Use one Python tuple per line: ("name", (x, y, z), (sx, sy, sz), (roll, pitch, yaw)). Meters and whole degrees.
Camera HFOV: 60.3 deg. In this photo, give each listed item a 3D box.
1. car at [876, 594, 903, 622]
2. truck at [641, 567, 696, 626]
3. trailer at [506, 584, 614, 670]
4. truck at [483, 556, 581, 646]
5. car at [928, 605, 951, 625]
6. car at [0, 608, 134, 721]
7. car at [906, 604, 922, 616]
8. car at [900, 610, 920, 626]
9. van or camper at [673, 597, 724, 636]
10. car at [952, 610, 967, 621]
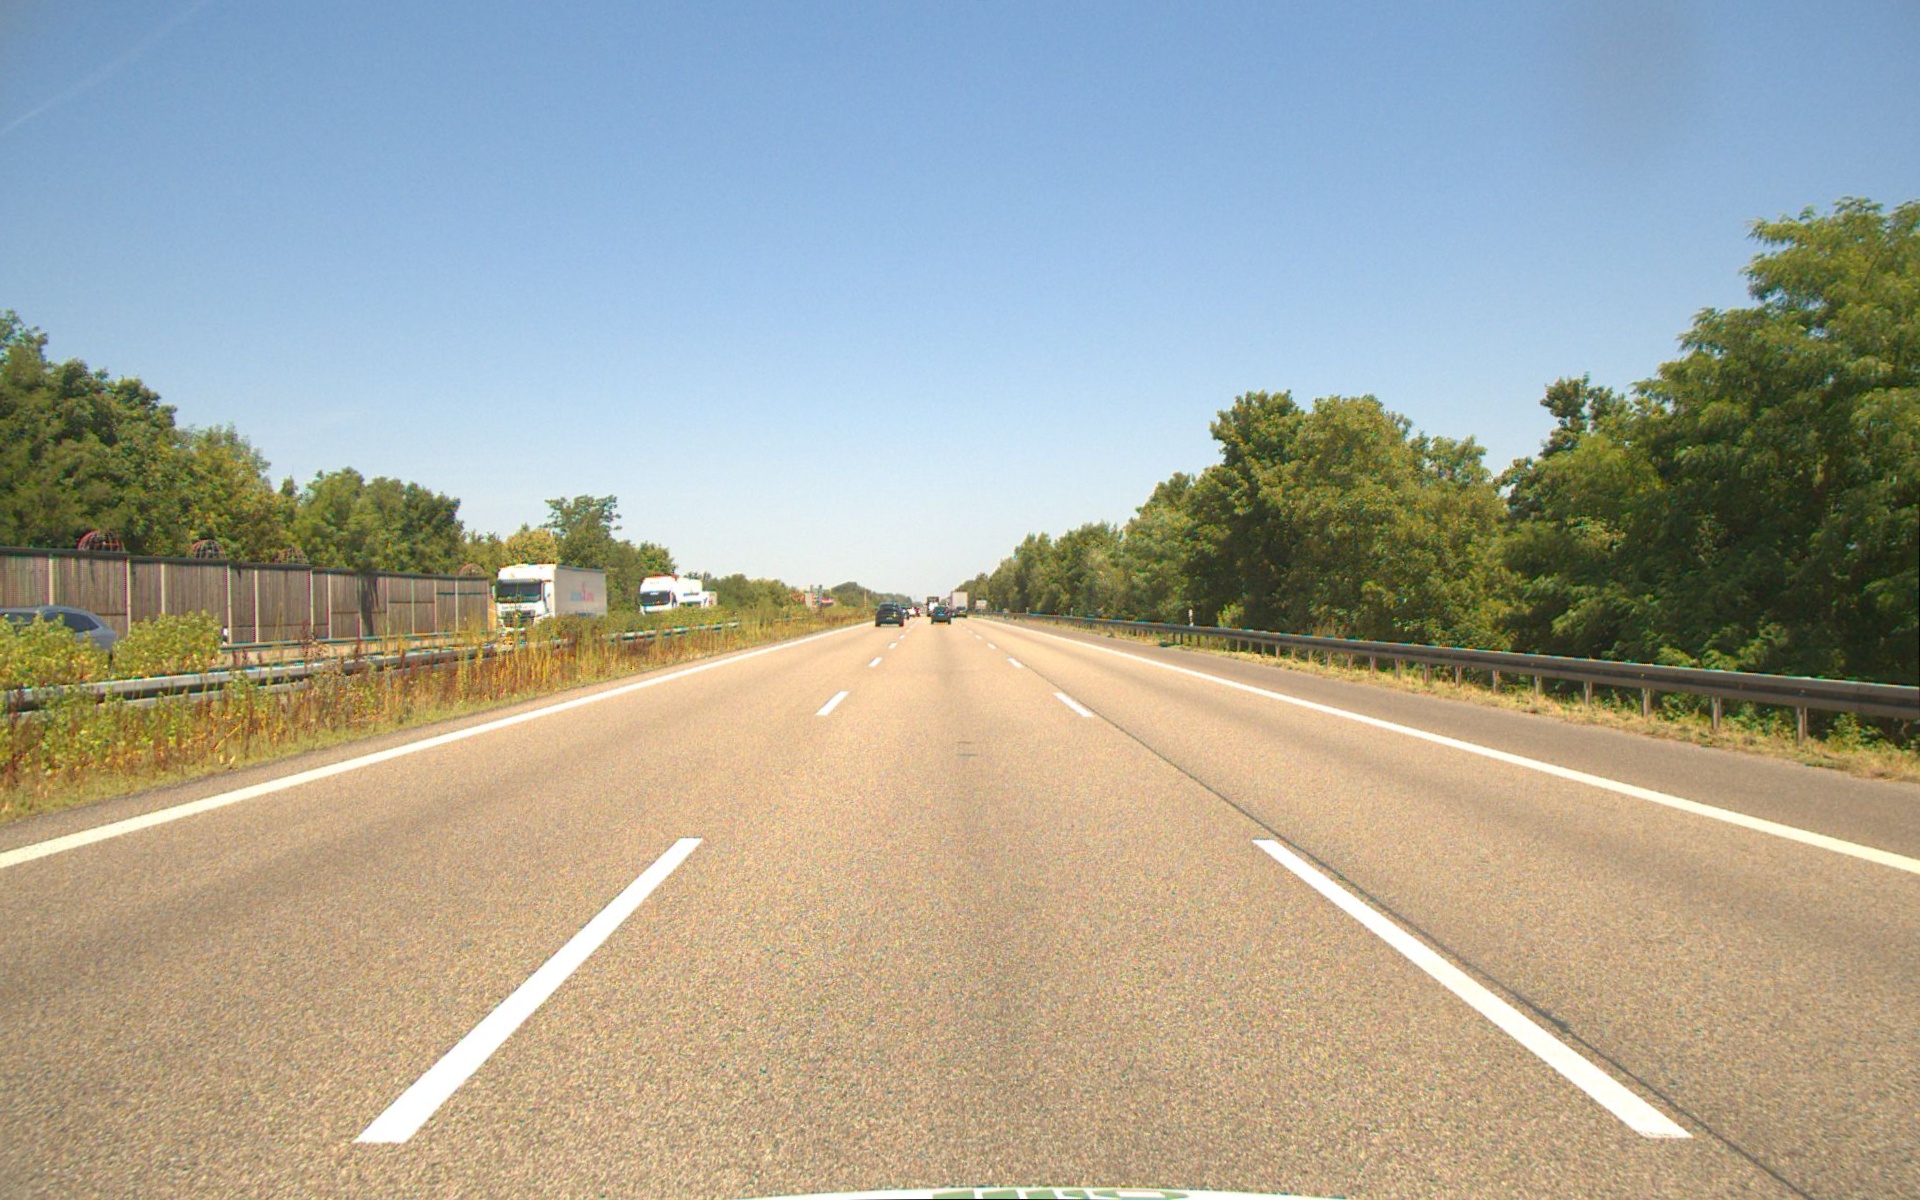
("car", (-4.934, 0.545, 116.312), (1.842, 1.823, 3.999), (0, 1, -2))
("truck", (-21.861, -0.286, 124.458), (2.784, 4.280, 7.713), (0, 0, -1))
("trailer", (-22.421, 1.449, 93.646), (3.102, 4.556, 12.950), (0, 0, -1))
("truck", (-22.366, 0.063, 86.918), (3.152, 4.517, 7.869), (0, 0, -1))
("car", (-1.678, 1.224, 136.907), (1.864, 1.611, 4.303), (-1, 0, -1))
("car", (-14.908, 0.968, 25.832), (1.785, 1.624, 4.439), (-1, 0, -1))
("car", (-6.706, 1.440, 241.470), (2.085, 1.674, 4.303), (-1, 0, -1))
("car", (-5.610, 1.998, 184.878), (2.085, 1.674, 4.303), (-1, 0, -1))
("van or camper", (-18.181, 1.140, 115.300), (2.415, 2.622, 7.409), (0, 0, -1))
("car", (-0.125, 2.184, 234.623), (2.085, 1.611, 4.303), (-1, 0, -1))
